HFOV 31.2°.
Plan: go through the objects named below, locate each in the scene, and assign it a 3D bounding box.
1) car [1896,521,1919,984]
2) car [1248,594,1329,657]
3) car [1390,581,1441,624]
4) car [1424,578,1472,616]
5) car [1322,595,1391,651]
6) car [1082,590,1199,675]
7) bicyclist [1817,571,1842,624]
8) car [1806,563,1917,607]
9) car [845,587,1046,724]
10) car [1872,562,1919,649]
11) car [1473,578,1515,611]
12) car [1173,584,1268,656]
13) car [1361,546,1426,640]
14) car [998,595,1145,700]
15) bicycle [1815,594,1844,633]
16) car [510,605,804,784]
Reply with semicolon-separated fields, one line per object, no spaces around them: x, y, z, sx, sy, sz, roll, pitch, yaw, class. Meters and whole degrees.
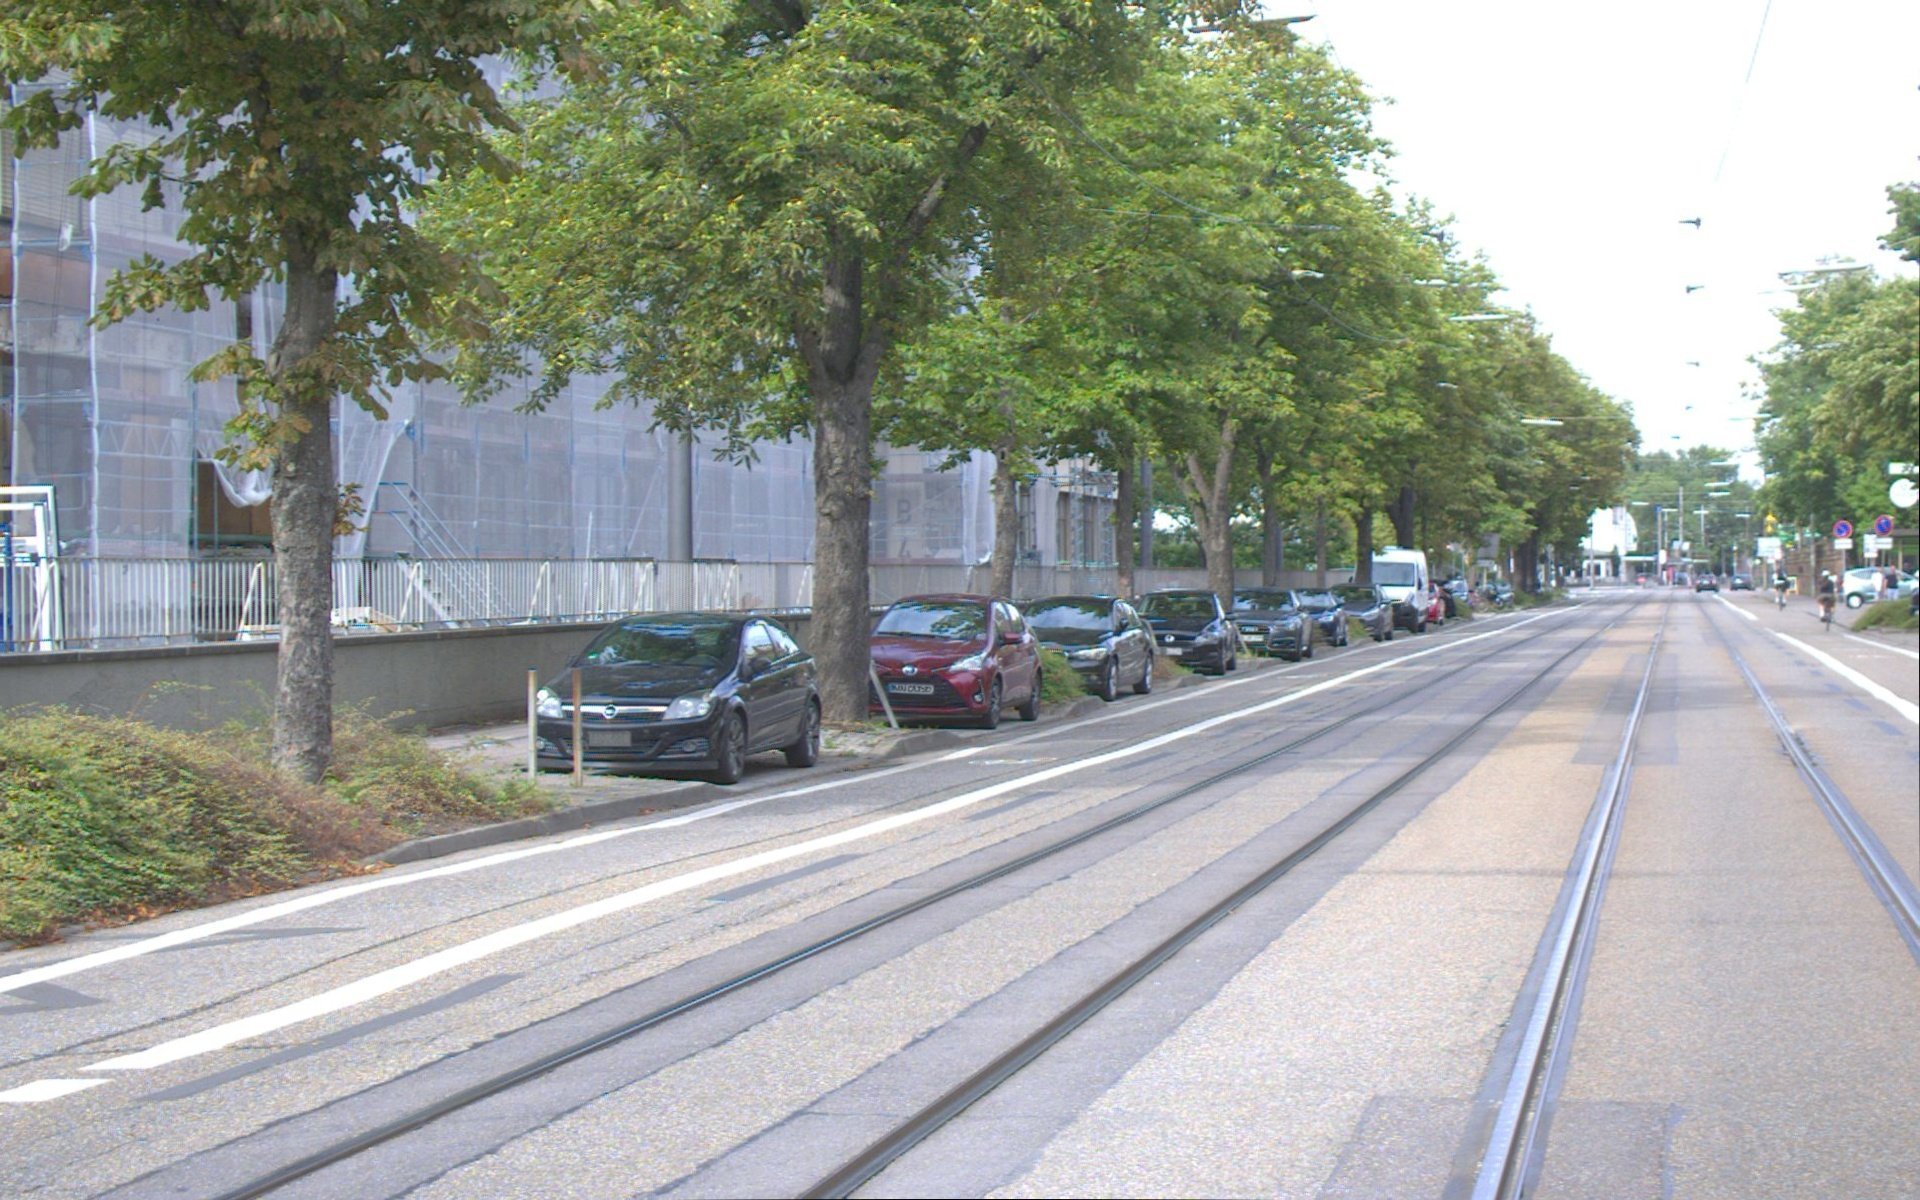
4.191;0.575;10.734;1.812;1.695;4.616;0;1;7;car
7.575;0.569;79.055;1.591;1.398;3.961;0;0;9;car
15.161;0.056;114.289;1.591;1.398;3.961;0;0;9;car
18.025;-0.122;126.895;1.591;1.398;3.548;0;0;11;car
10.279;0.570;88.907;1.591;1.398;3.961;0;0;9;car
3.132;0.526;59.028;1.591;1.398;3.961;0;0;9;car
23.900;-0.078;94.526;0.593;1.454;0.875;0;0;9;bicyclist
35.757;-0.605;136.467;3.988;1.687;2.000;0;0;6;car
-0.111;0.604;39.877;1.636;1.491;3.961;0;0;10;car
18.917;0.090;64.177;3.635;1.597;1.682;0;0;-34;car
22.558;-0.242;145.252;1.591;1.398;3.548;0;0;11;car
5.264;0.378;69.099;1.591;1.398;3.961;0;0;9;car
12.898;-0.220;102.029;1.721;2.695;5.468;0;0;9;car
1.620;0.641;48.836;1.591;1.398;3.961;0;0;9;car
23.898;0.371;94.528;0.593;1.040;1.977;0;1;9;bicycle
-2.525;0.756;29.546;1.591;1.398;3.961;0;0;9;car
